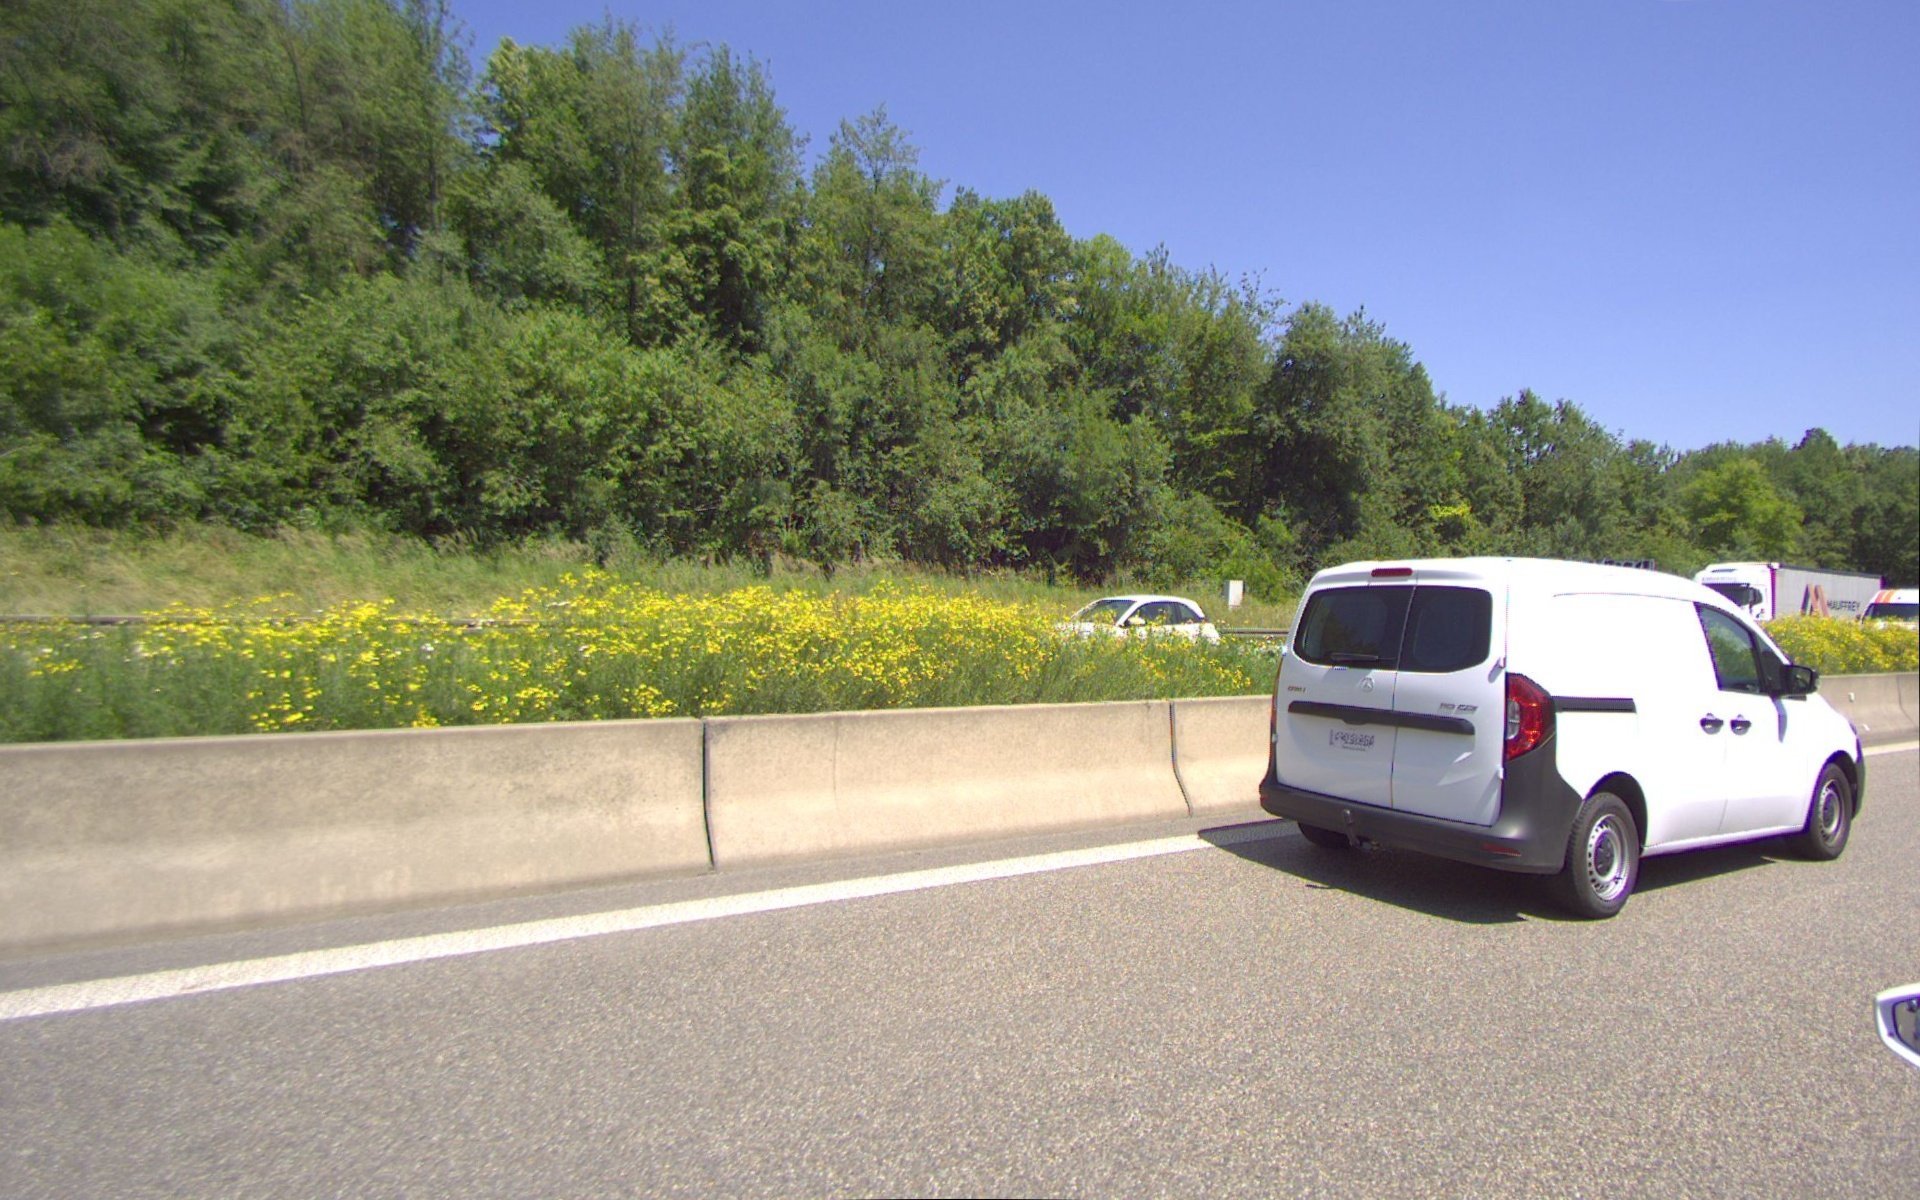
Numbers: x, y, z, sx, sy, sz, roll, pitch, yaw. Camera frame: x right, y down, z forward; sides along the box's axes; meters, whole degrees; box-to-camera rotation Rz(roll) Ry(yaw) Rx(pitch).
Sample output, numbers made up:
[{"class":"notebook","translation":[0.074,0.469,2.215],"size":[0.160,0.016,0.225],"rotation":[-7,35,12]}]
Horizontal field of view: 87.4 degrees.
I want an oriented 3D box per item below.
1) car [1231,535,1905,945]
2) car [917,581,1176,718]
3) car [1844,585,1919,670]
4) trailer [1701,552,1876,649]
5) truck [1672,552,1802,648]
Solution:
[{"class":"car","translation":[4.060,0.686,6.463],"size":[4.620,1.837,1.756],"rotation":[2,-1,-31]},{"class":"car","translation":[1.473,0.815,16.810],"size":[3.955,2.040,1.868],"rotation":[3,-1,-31]},{"class":"car","translation":[35.915,1.030,37.643],"size":[7.376,2.934,2.058],"rotation":[1,0,-31]},{"class":"trailer","translation":[42.158,0.180,50.878],"size":[12.922,4.287,2.910],"rotation":[3,-1,-32]},{"class":"truck","translation":[36.677,0.088,47.383],"size":[6.022,4.161,2.947],"rotation":[3,-1,-33]}]
